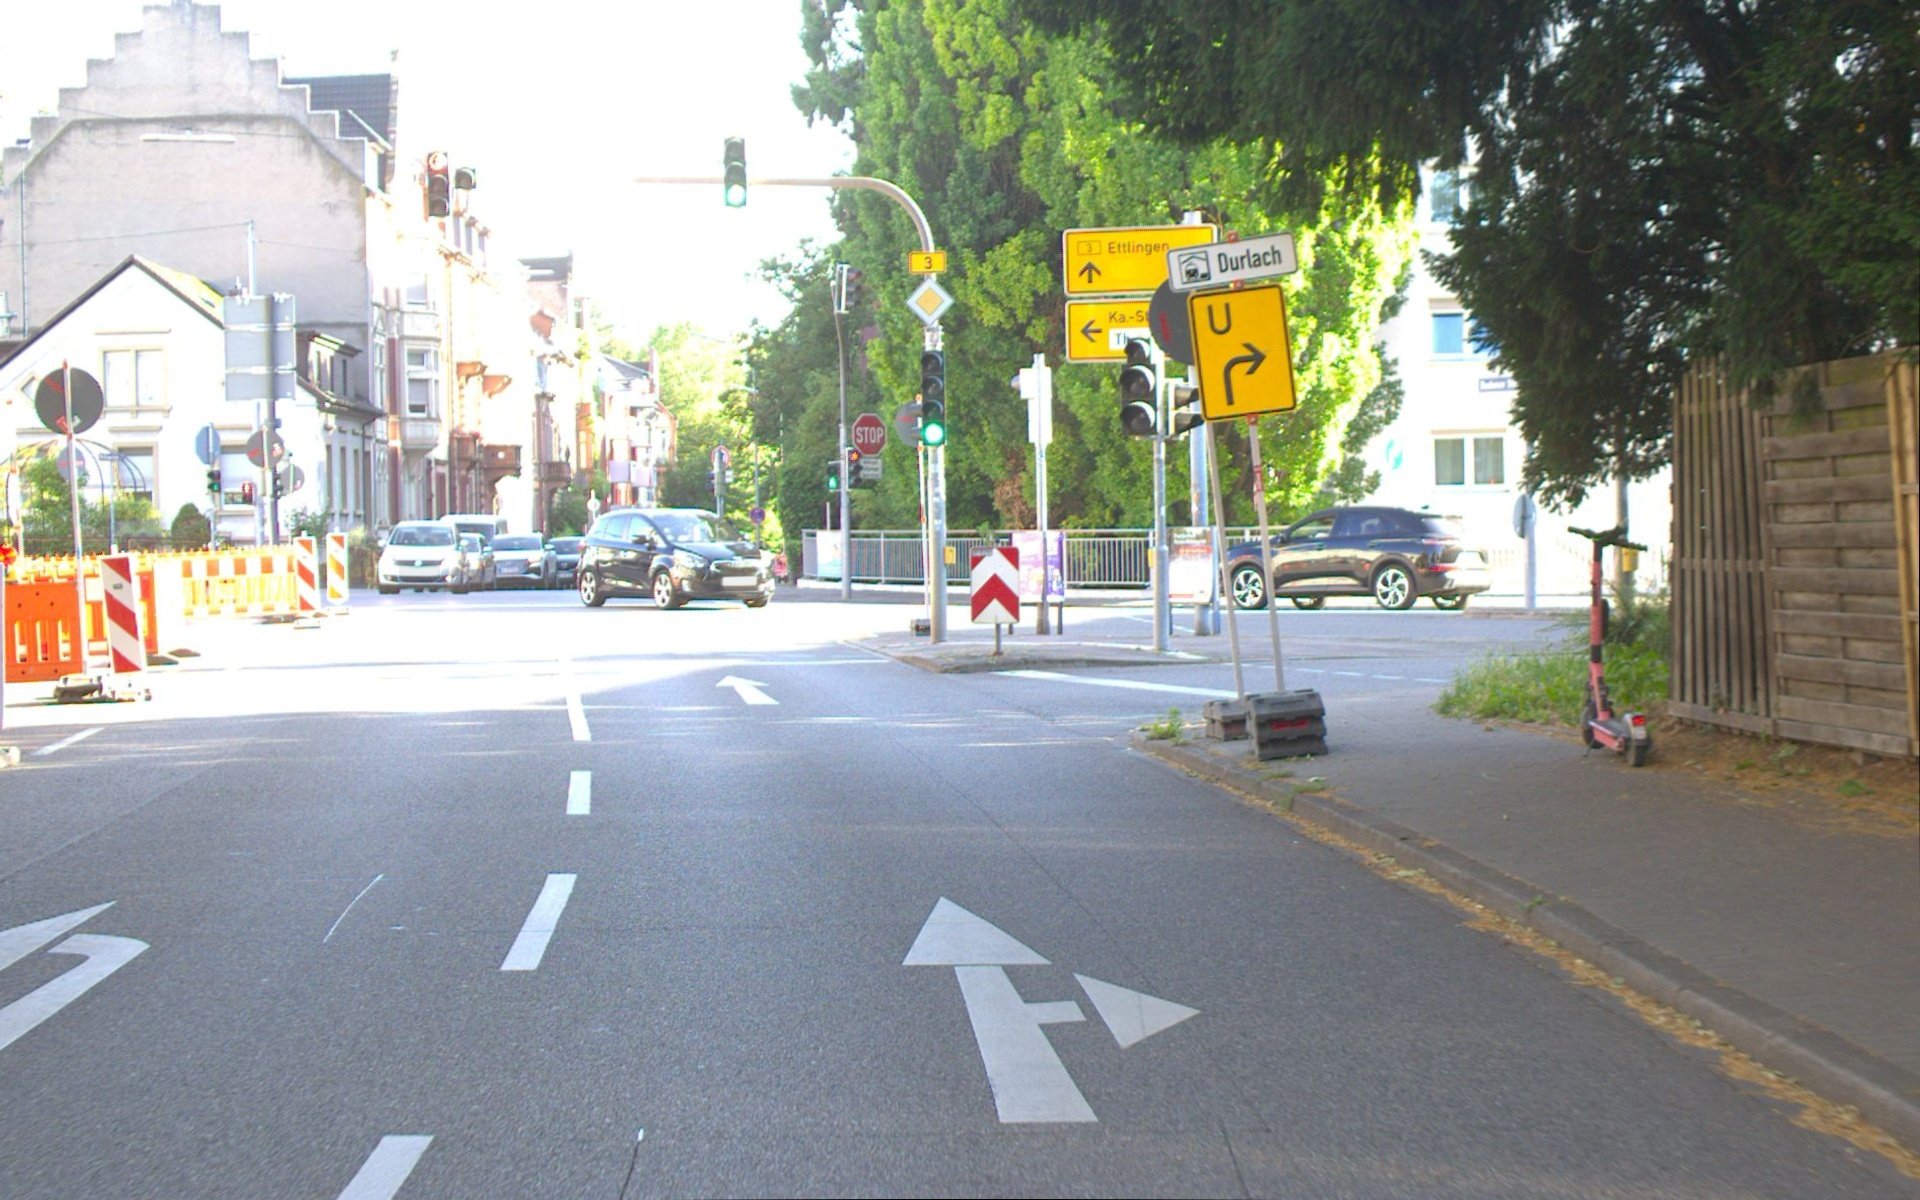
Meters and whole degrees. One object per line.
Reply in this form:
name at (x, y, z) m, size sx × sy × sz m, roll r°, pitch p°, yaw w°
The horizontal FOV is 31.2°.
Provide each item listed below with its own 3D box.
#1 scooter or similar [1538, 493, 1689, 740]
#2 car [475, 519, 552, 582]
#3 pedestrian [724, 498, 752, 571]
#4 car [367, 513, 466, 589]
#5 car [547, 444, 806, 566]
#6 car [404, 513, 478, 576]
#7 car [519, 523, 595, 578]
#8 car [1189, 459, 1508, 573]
scooter or similar at (3.338, 0.065, 17.630) m, size 0.438 × 1.198 × 1.258 m, roll -3°, pitch 2°, yaw -2°
car at (-12.315, -1.378, 94.985) m, size 1.775 × 1.643 × 4.535 m, roll 1°, pitch 2°, yaw -3°
pedestrian at (-5.256, -1.553, 81.427) m, size 0.602 × 1.687 × 0.612 m, roll -1°, pitch 2°, yaw -2°
car at (-11.670, -1.060, 73.647) m, size 1.775 × 1.537 × 4.002 m, roll 0°, pitch 2°, yaw -13°
car at (-4.603, -1.563, 55.384) m, size 1.995 × 1.809 × 4.250 m, roll -5°, pitch 5°, yaw -40°
car at (-12.836, -1.393, 85.202) m, size 1.775 × 1.475 × 4.097 m, roll 0°, pitch 2°, yaw -8°
car at (-12.702, -1.577, 108.605) m, size 1.953 × 1.643 × 4.284 m, roll 1°, pitch 2°, yaw -1°
car at (6.119, -1.313, 54.467) m, size 4.660 × 1.664 × 1.995 m, roll 1°, pitch -1°, yaw 40°
